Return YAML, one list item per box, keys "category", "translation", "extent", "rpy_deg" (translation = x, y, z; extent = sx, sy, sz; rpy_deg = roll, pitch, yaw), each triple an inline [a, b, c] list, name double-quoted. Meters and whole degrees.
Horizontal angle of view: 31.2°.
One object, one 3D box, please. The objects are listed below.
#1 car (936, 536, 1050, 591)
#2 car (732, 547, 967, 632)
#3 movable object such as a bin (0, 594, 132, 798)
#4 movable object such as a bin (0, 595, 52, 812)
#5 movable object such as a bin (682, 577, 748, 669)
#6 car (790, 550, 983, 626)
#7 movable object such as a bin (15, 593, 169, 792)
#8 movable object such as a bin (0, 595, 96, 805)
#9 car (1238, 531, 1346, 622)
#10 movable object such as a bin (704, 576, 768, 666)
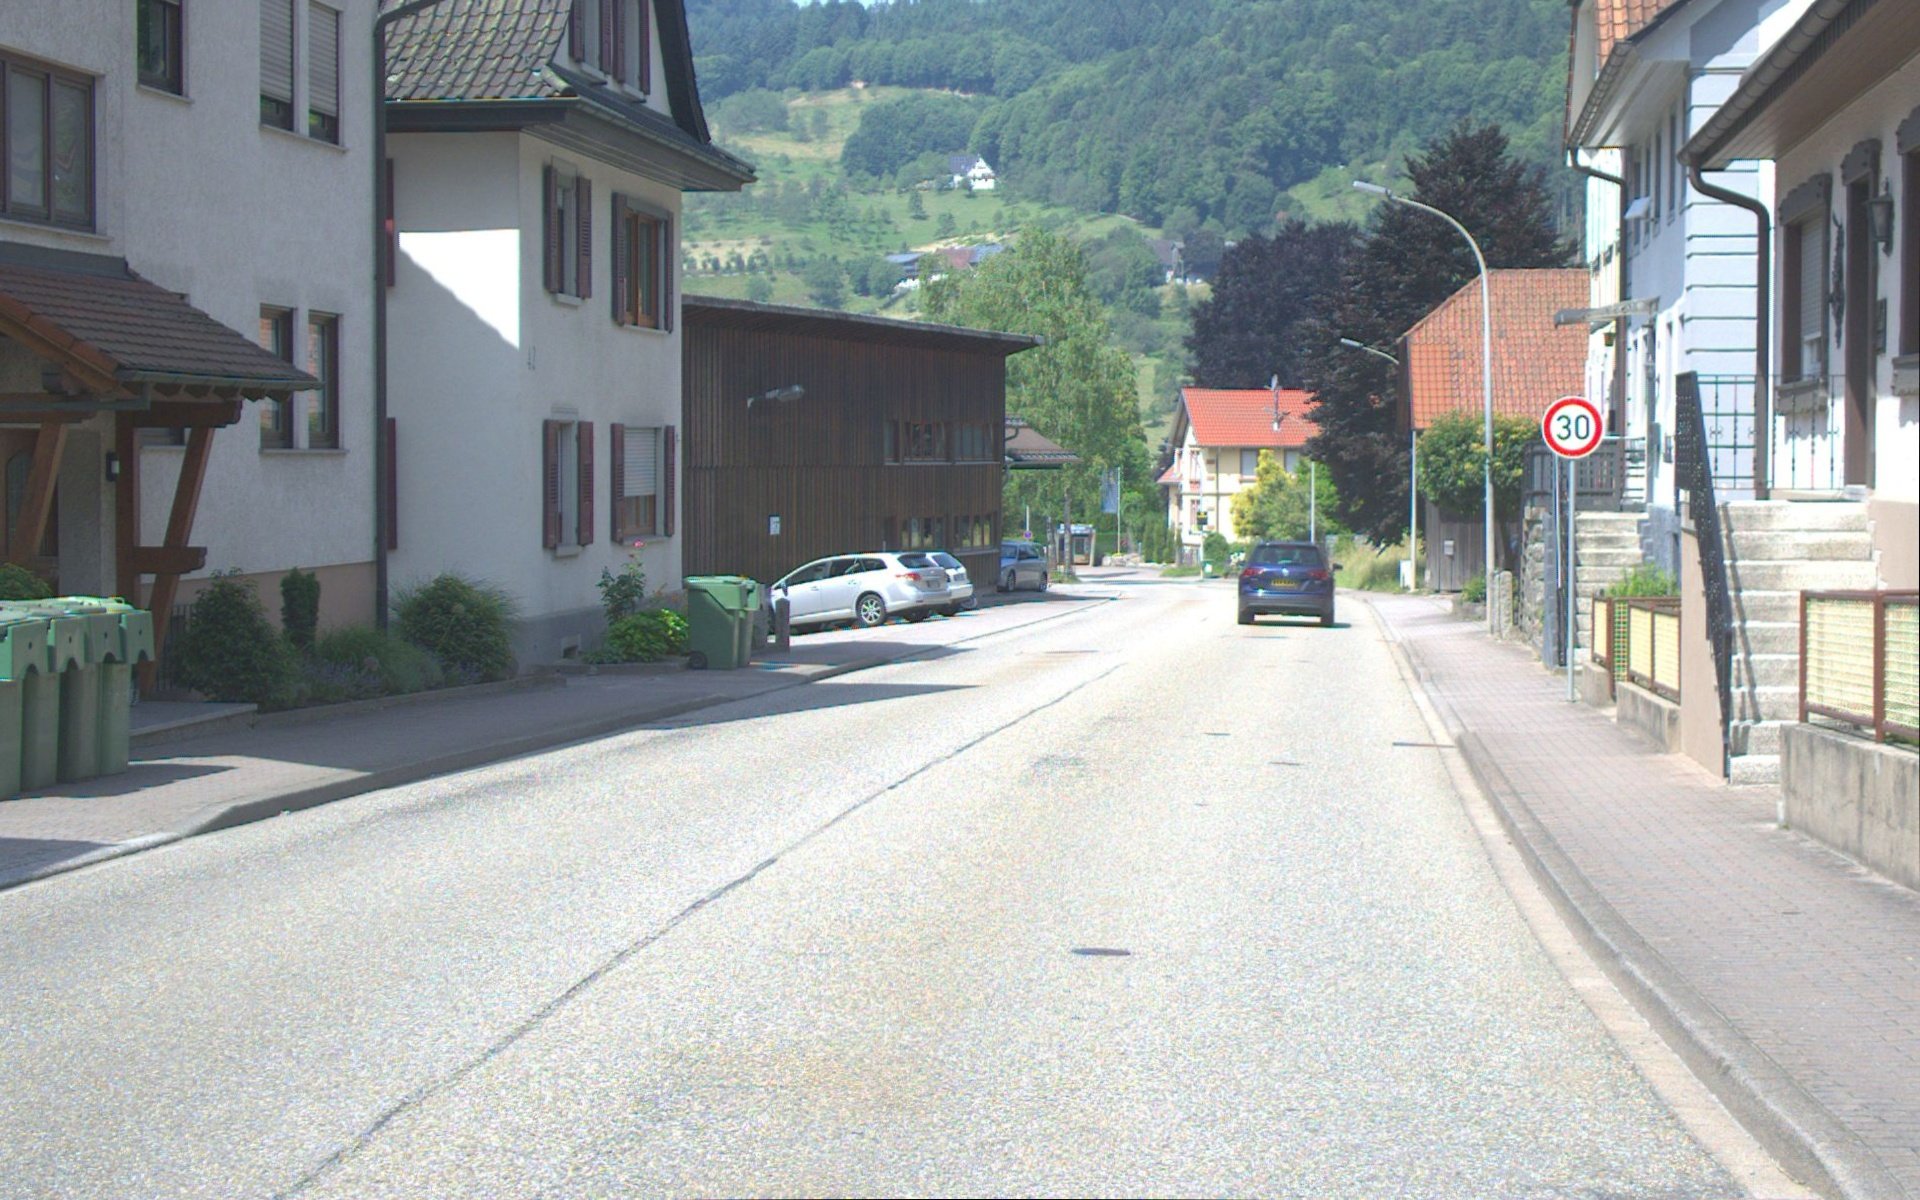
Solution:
- category: "car"
  translation: [0.956, -1.055, 97.219]
  extent: [1.730, 1.449, 4.800]
  rpy_deg: [1, 2, 20]
- category: "car"
  translation: [-2.279, -0.220, 70.697]
  extent: [4.437, 1.469, 1.921]
  rpy_deg: [-3, 0, 32]
- category: "movable object such as a bin"
  translation: [-5.406, 0.567, 20.492]
  extent: [0.718, 1.177, 0.598]
  rpy_deg: [-1, 1, 7]
- category: "movable object such as a bin"
  translation: [-5.545, 0.578, 19.189]
  extent: [0.718, 1.177, 0.598]
  rpy_deg: [-1, 1, 7]
- category: "movable object such as a bin"
  translation: [-2.863, 0.261, 40.270]
  extent: [0.676, 1.063, 0.653]
  rpy_deg: [0, 1, 5]
- category: "car"
  translation: [-1.565, -0.258, 73.346]
  extent: [3.663, 1.381, 1.709]
  rpy_deg: [-4, 0, 22]
- category: "movable object such as a bin"
  translation: [-5.336, 0.561, 21.146]
  extent: [0.718, 1.177, 0.598]
  rpy_deg: [-1, 1, 7]
- category: "movable object such as a bin"
  translation: [-5.461, 0.572, 19.843]
  extent: [0.718, 1.177, 0.598]
  rpy_deg: [-1, 1, 7]
- category: "car"
  translation: [6.427, -0.468, 66.353]
  extent: [1.920, 1.692, 3.787]
  rpy_deg: [0, 1, 8]
- category: "movable object such as a bin"
  translation: [-2.671, 0.250, 41.015]
  extent: [0.676, 1.063, 0.621]
  rpy_deg: [0, 1, 5]
